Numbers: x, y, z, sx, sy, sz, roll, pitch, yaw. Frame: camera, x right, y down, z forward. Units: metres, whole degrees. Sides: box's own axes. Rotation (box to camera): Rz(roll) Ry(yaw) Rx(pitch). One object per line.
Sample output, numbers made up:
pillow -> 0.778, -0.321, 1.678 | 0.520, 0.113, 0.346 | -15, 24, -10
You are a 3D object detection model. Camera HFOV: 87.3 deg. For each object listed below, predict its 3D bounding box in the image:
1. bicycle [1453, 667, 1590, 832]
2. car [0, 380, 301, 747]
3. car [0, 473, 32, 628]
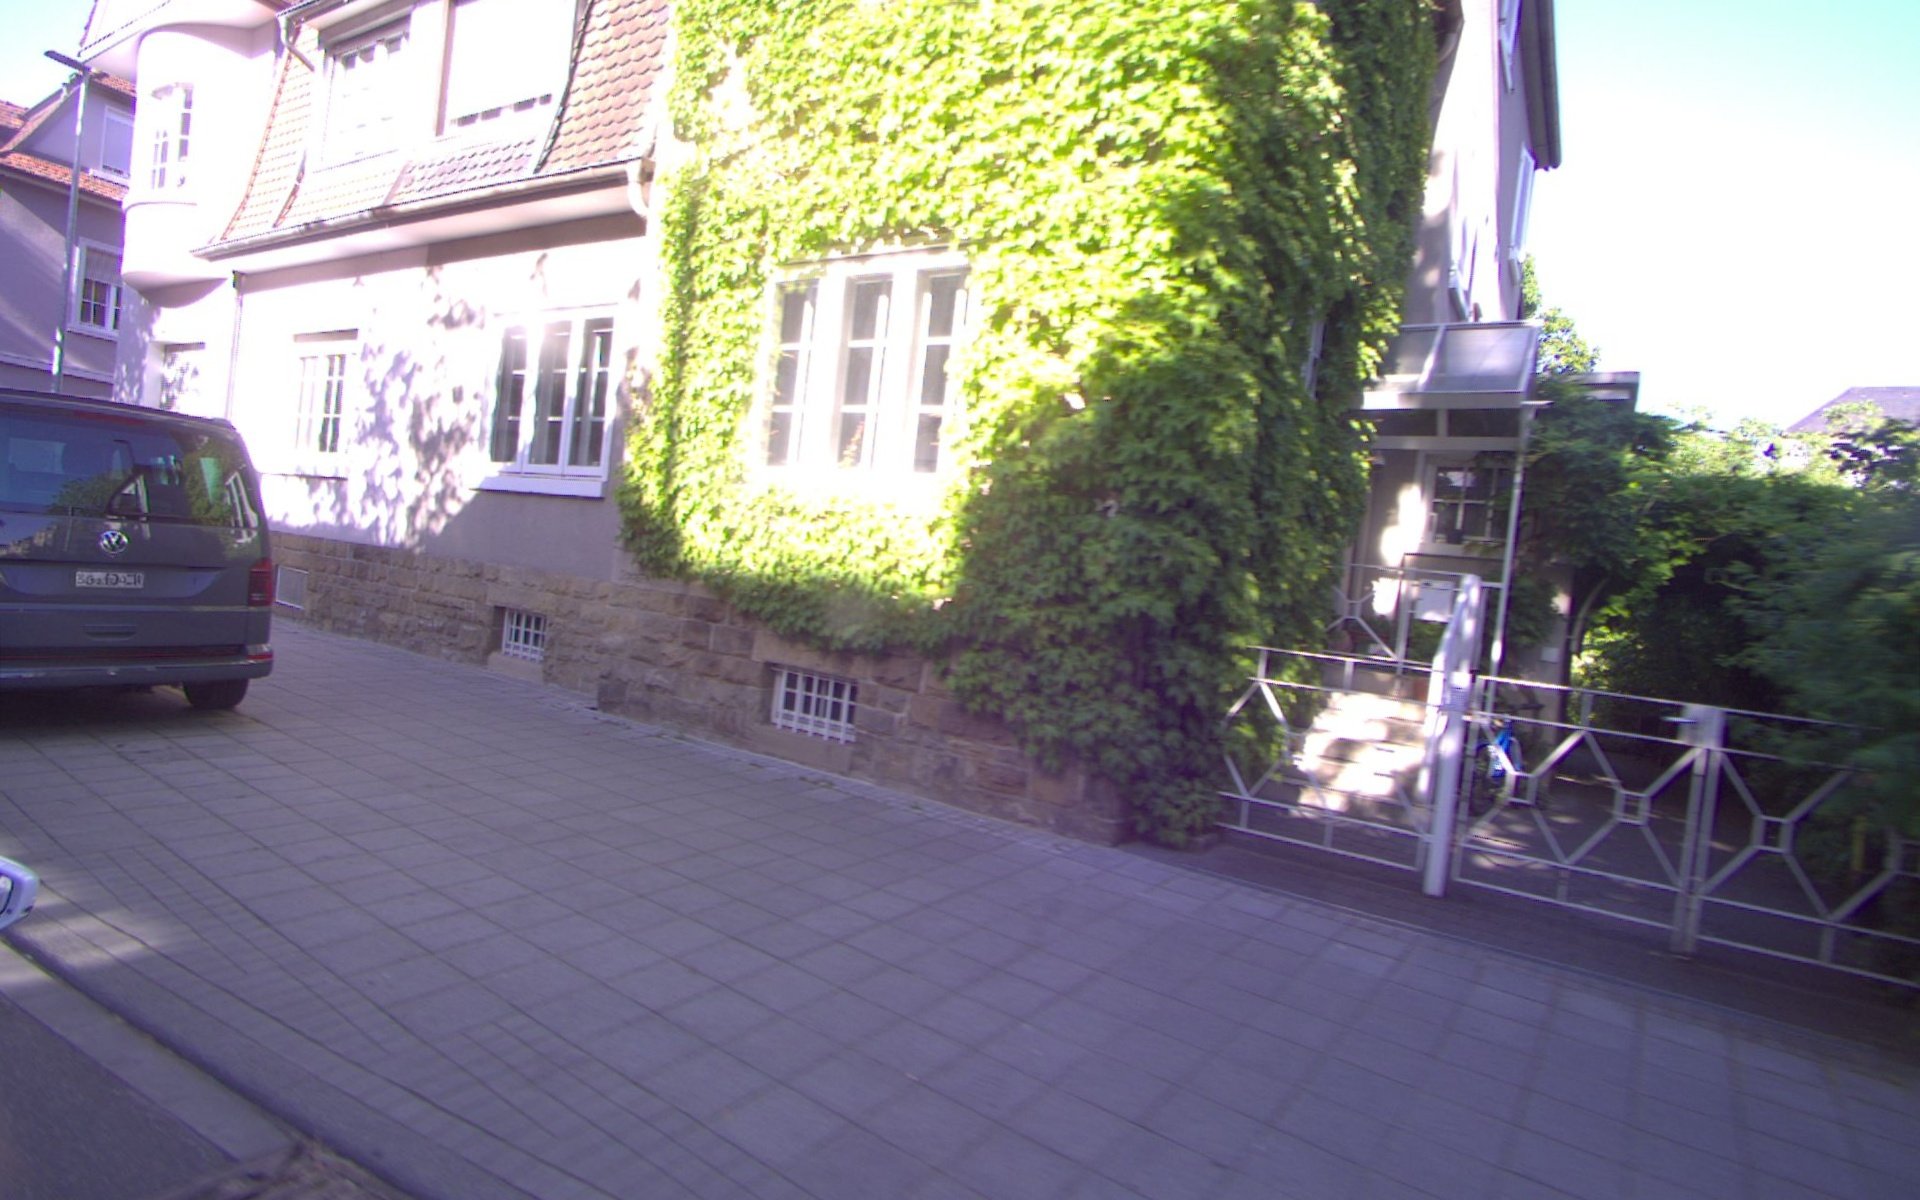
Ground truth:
bicycle -> 4.899, 1.221, 8.693 | 0.663, 1.171, 2.110 | 8, 2, 36
car -> -6.714, -0.404, 7.068 | 4.707, 1.942, 1.863 | 7, 3, 36
car -> -11.357, -0.730, 10.272 | 4.366, 1.476, 1.679 | 7, 2, 33
